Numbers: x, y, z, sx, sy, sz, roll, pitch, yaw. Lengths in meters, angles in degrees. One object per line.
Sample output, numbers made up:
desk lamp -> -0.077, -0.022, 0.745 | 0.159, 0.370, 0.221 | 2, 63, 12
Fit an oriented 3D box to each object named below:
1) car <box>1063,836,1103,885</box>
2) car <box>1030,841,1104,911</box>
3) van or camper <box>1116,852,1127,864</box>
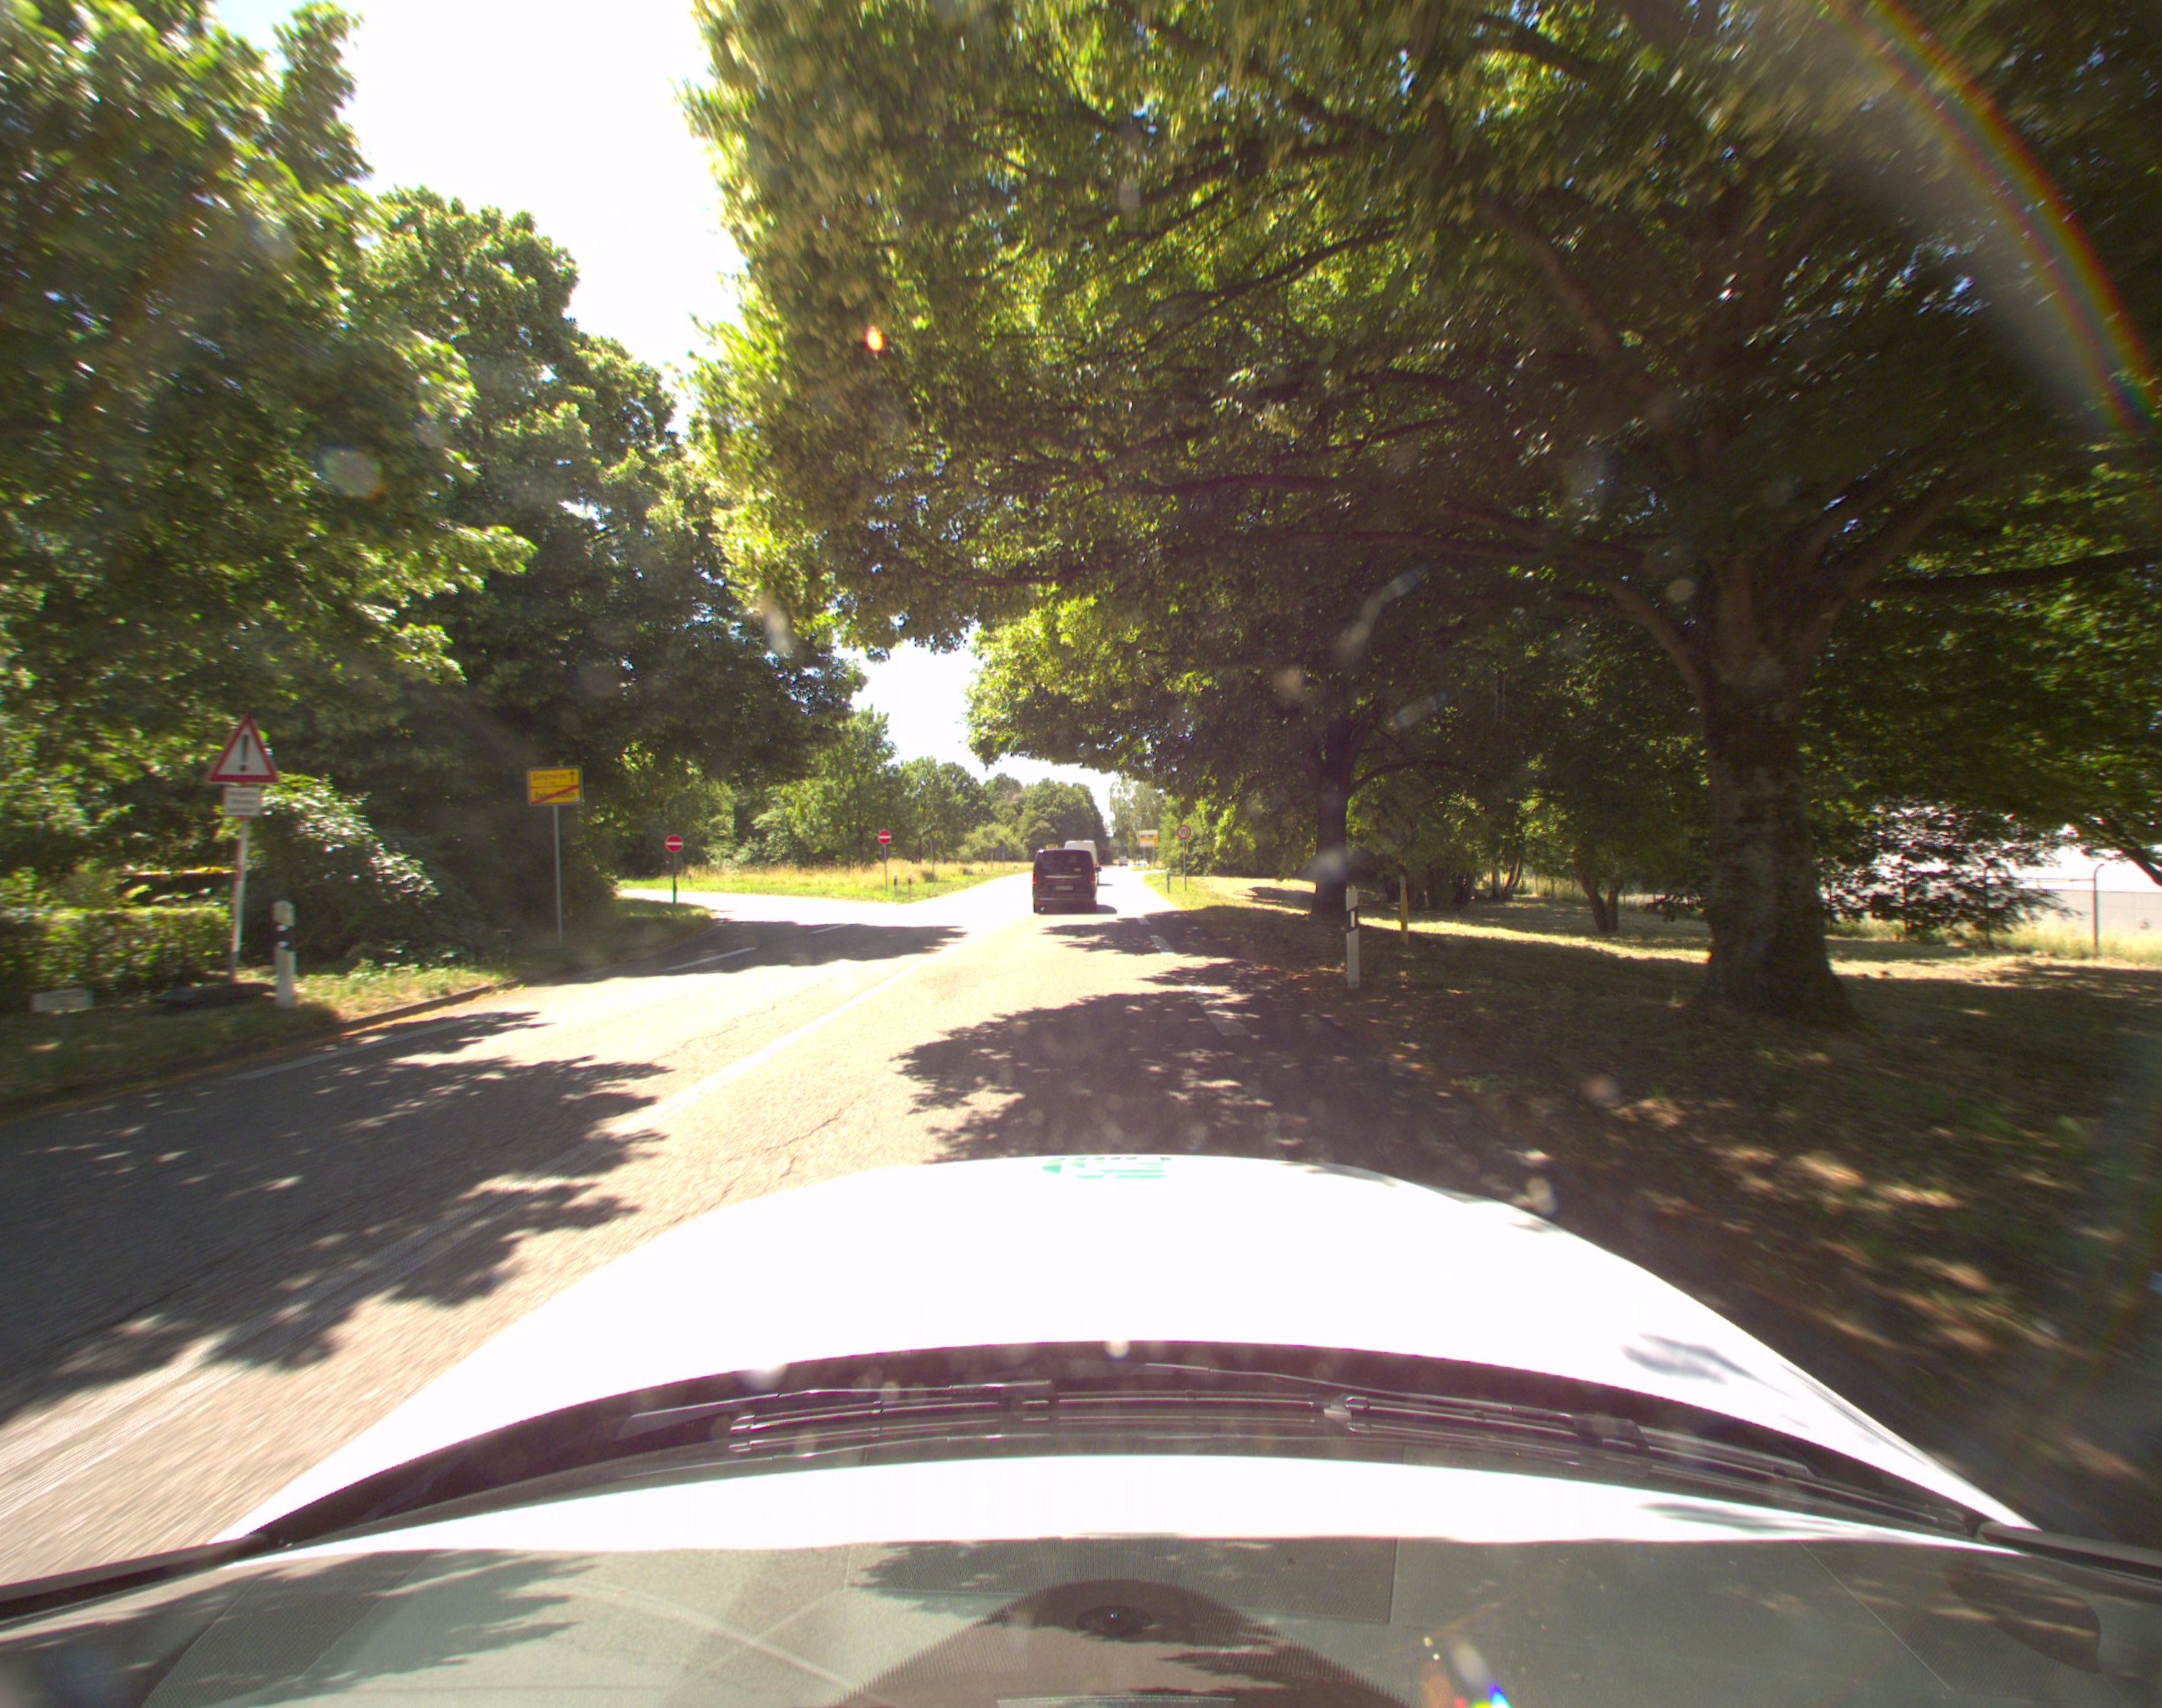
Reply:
car -> 0.156, 0.402, 47.912 | 2.069, 2.702, 4.670 | 0, -1, 3
car -> -0.327, 0.645, 25.282 | 1.986, 1.953, 5.007 | 0, -1, 2
van or camper -> 10.208, 1.087, 208.037 | 2.623, 2.929, 5.206 | 0, -1, 1
